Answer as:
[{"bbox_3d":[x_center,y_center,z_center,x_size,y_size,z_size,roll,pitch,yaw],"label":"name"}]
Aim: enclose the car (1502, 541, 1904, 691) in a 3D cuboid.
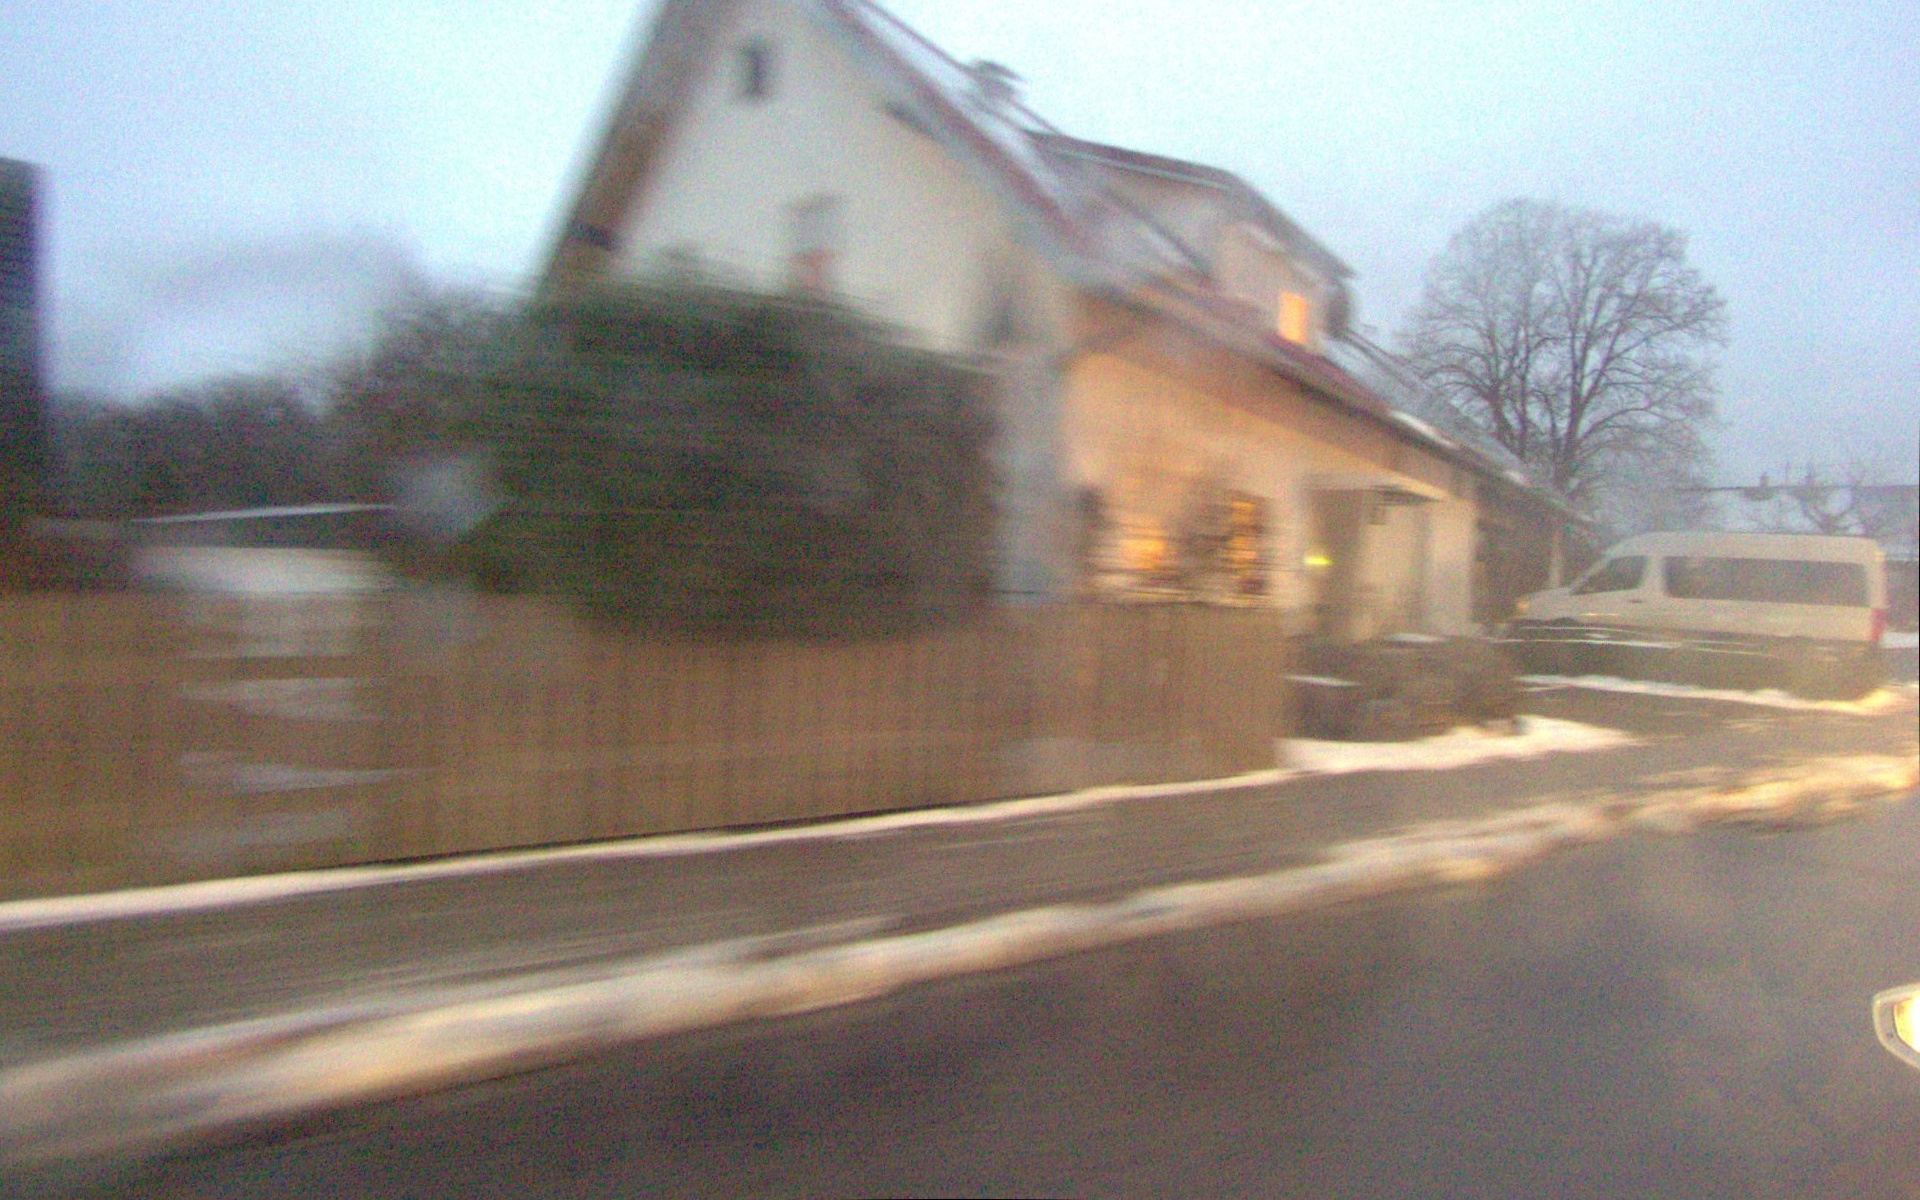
[{"bbox_3d":[14.058,0.215,19.623,6.005,2.587,1.997,2,0,30],"label":"car"}]
